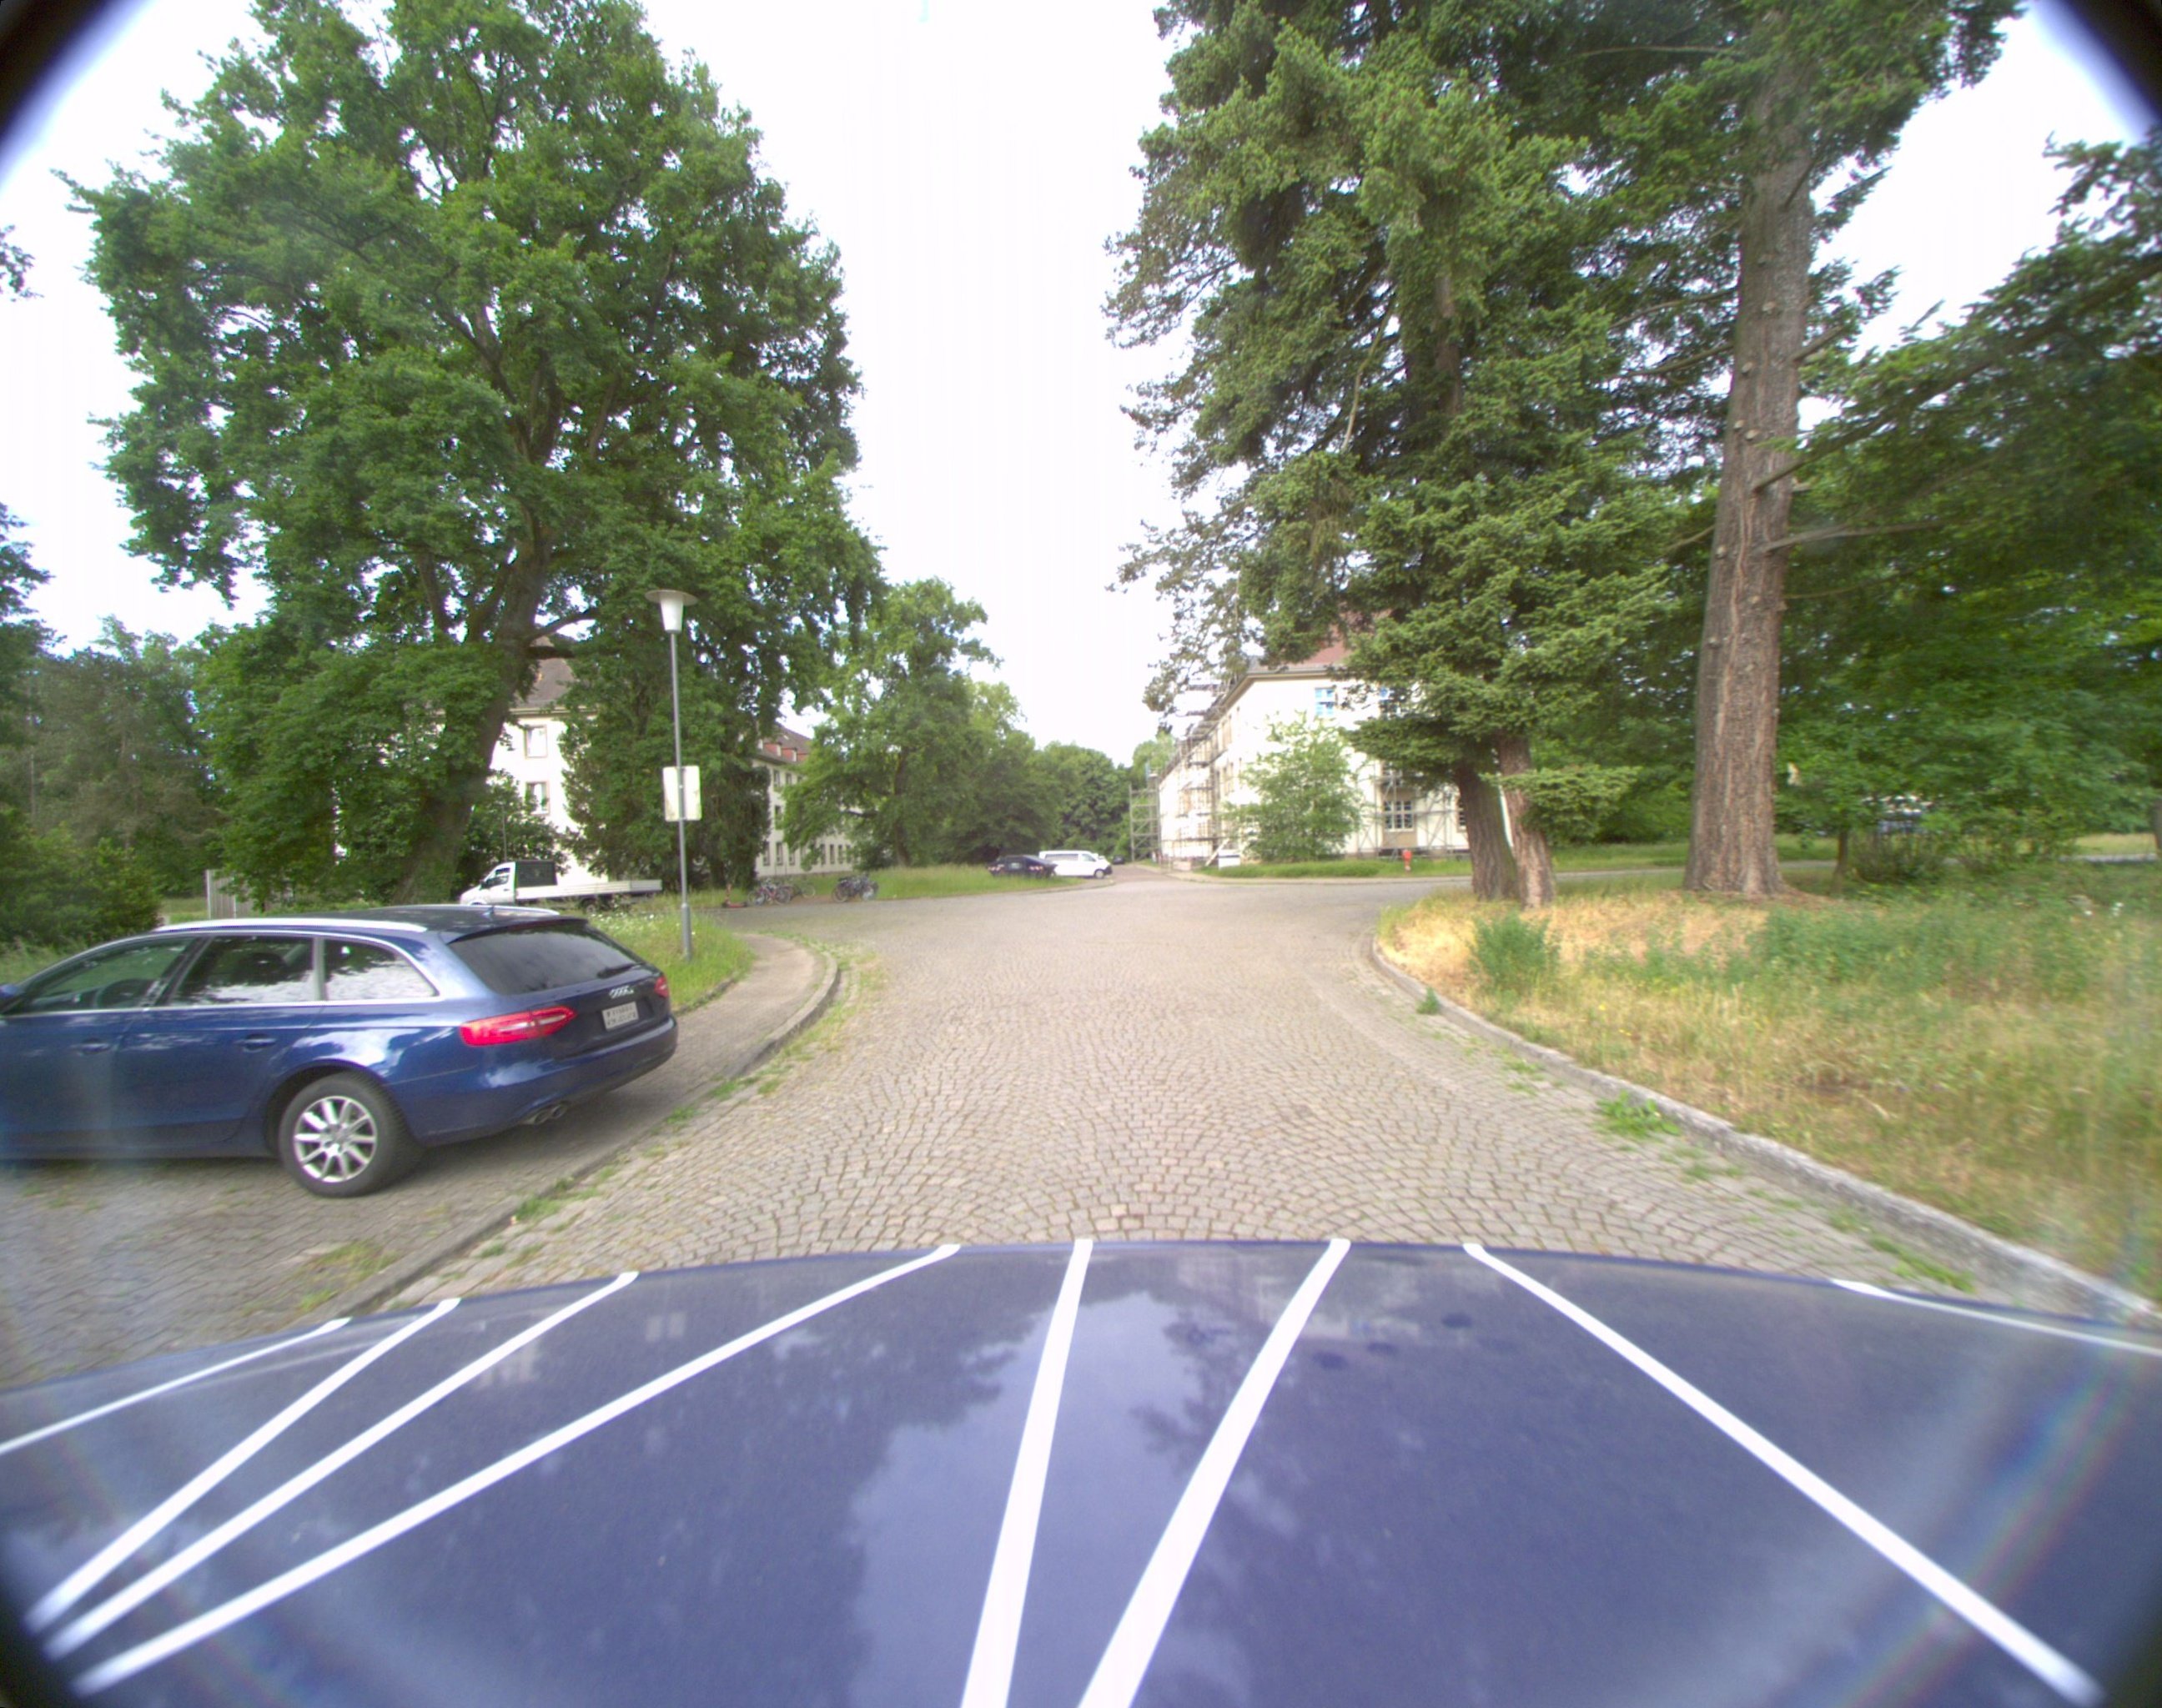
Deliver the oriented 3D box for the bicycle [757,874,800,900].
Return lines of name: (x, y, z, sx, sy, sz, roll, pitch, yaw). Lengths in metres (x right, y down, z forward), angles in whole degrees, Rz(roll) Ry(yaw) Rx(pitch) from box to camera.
bicycle: (-14.758, 1.598, 37.104, 1.862, 1.163, 0.487, -3, 1, -28)

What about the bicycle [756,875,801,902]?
bicycle: (-14.192, 1.611, 35.703, 1.862, 1.163, 0.487, -3, 1, -28)

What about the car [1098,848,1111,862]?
car: (3.698, 0.137, 119.632, 1.962, 2.002, 4.260, -2, 1, 0)

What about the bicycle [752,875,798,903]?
bicycle: (-14.061, 1.608, 34.934, 1.861, 1.163, 0.487, -3, 1, -20)

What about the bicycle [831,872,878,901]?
bicycle: (-10.389, 1.486, 34.840, 1.941, 1.163, 0.487, -4, 1, -24)

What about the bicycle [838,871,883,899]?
bicycle: (-10.525, 1.483, 36.235, 1.941, 1.163, 0.487, -4, 1, -21)

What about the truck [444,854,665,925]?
truck: (-20.149, 1.342, 29.275, 7.082, 2.352, 1.993, -2, 0, 1)

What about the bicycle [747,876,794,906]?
bicycle: (-13.753, 1.624, 33.650, 1.861, 1.163, 0.487, -3, 1, -25)

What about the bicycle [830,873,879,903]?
bicycle: (-9.900, 1.468, 33.236, 1.942, 1.163, 0.487, -4, 1, -26)

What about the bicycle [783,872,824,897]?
bicycle: (-13.961, 1.536, 38.221, 1.859, 1.163, 0.488, -1, 0, -9)

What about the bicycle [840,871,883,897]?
bicycle: (-10.879, 1.479, 37.708, 1.941, 1.163, 0.487, -4, 1, -21)

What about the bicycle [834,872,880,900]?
bicycle: (-10.441, 1.484, 35.454, 1.941, 1.163, 0.487, -4, 1, -24)

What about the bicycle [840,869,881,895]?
bicycle: (-11.302, 1.437, 38.952, 1.940, 1.163, 0.537, -4, 1, -15)

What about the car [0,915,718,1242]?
car: (-4.946, 1.233, 4.776, 4.367, 1.431, 1.927, -2, 0, 3)

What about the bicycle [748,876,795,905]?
bicycle: (-13.945, 1.631, 34.221, 1.861, 1.163, 0.487, -3, 1, -25)

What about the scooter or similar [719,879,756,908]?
scooter or similar: (-14.855, 1.704, 32.887, 1.308, 1.163, 0.413, -4, 1, 0)

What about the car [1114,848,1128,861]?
car: (6.236, 0.027, 119.834, 1.962, 2.002, 4.260, -2, 1, 0)

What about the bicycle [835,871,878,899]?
bicycle: (-10.957, 1.505, 37.097, 1.941, 1.163, 0.487, -4, 1, -21)

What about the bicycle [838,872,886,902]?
bicycle: (-9.776, 1.453, 33.912, 1.942, 1.163, 0.487, -4, 1, -26)

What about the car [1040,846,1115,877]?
car: (-0.246, 0.493, 53.508, 5.149, 2.002, 2.000, -2, 1, 1)
